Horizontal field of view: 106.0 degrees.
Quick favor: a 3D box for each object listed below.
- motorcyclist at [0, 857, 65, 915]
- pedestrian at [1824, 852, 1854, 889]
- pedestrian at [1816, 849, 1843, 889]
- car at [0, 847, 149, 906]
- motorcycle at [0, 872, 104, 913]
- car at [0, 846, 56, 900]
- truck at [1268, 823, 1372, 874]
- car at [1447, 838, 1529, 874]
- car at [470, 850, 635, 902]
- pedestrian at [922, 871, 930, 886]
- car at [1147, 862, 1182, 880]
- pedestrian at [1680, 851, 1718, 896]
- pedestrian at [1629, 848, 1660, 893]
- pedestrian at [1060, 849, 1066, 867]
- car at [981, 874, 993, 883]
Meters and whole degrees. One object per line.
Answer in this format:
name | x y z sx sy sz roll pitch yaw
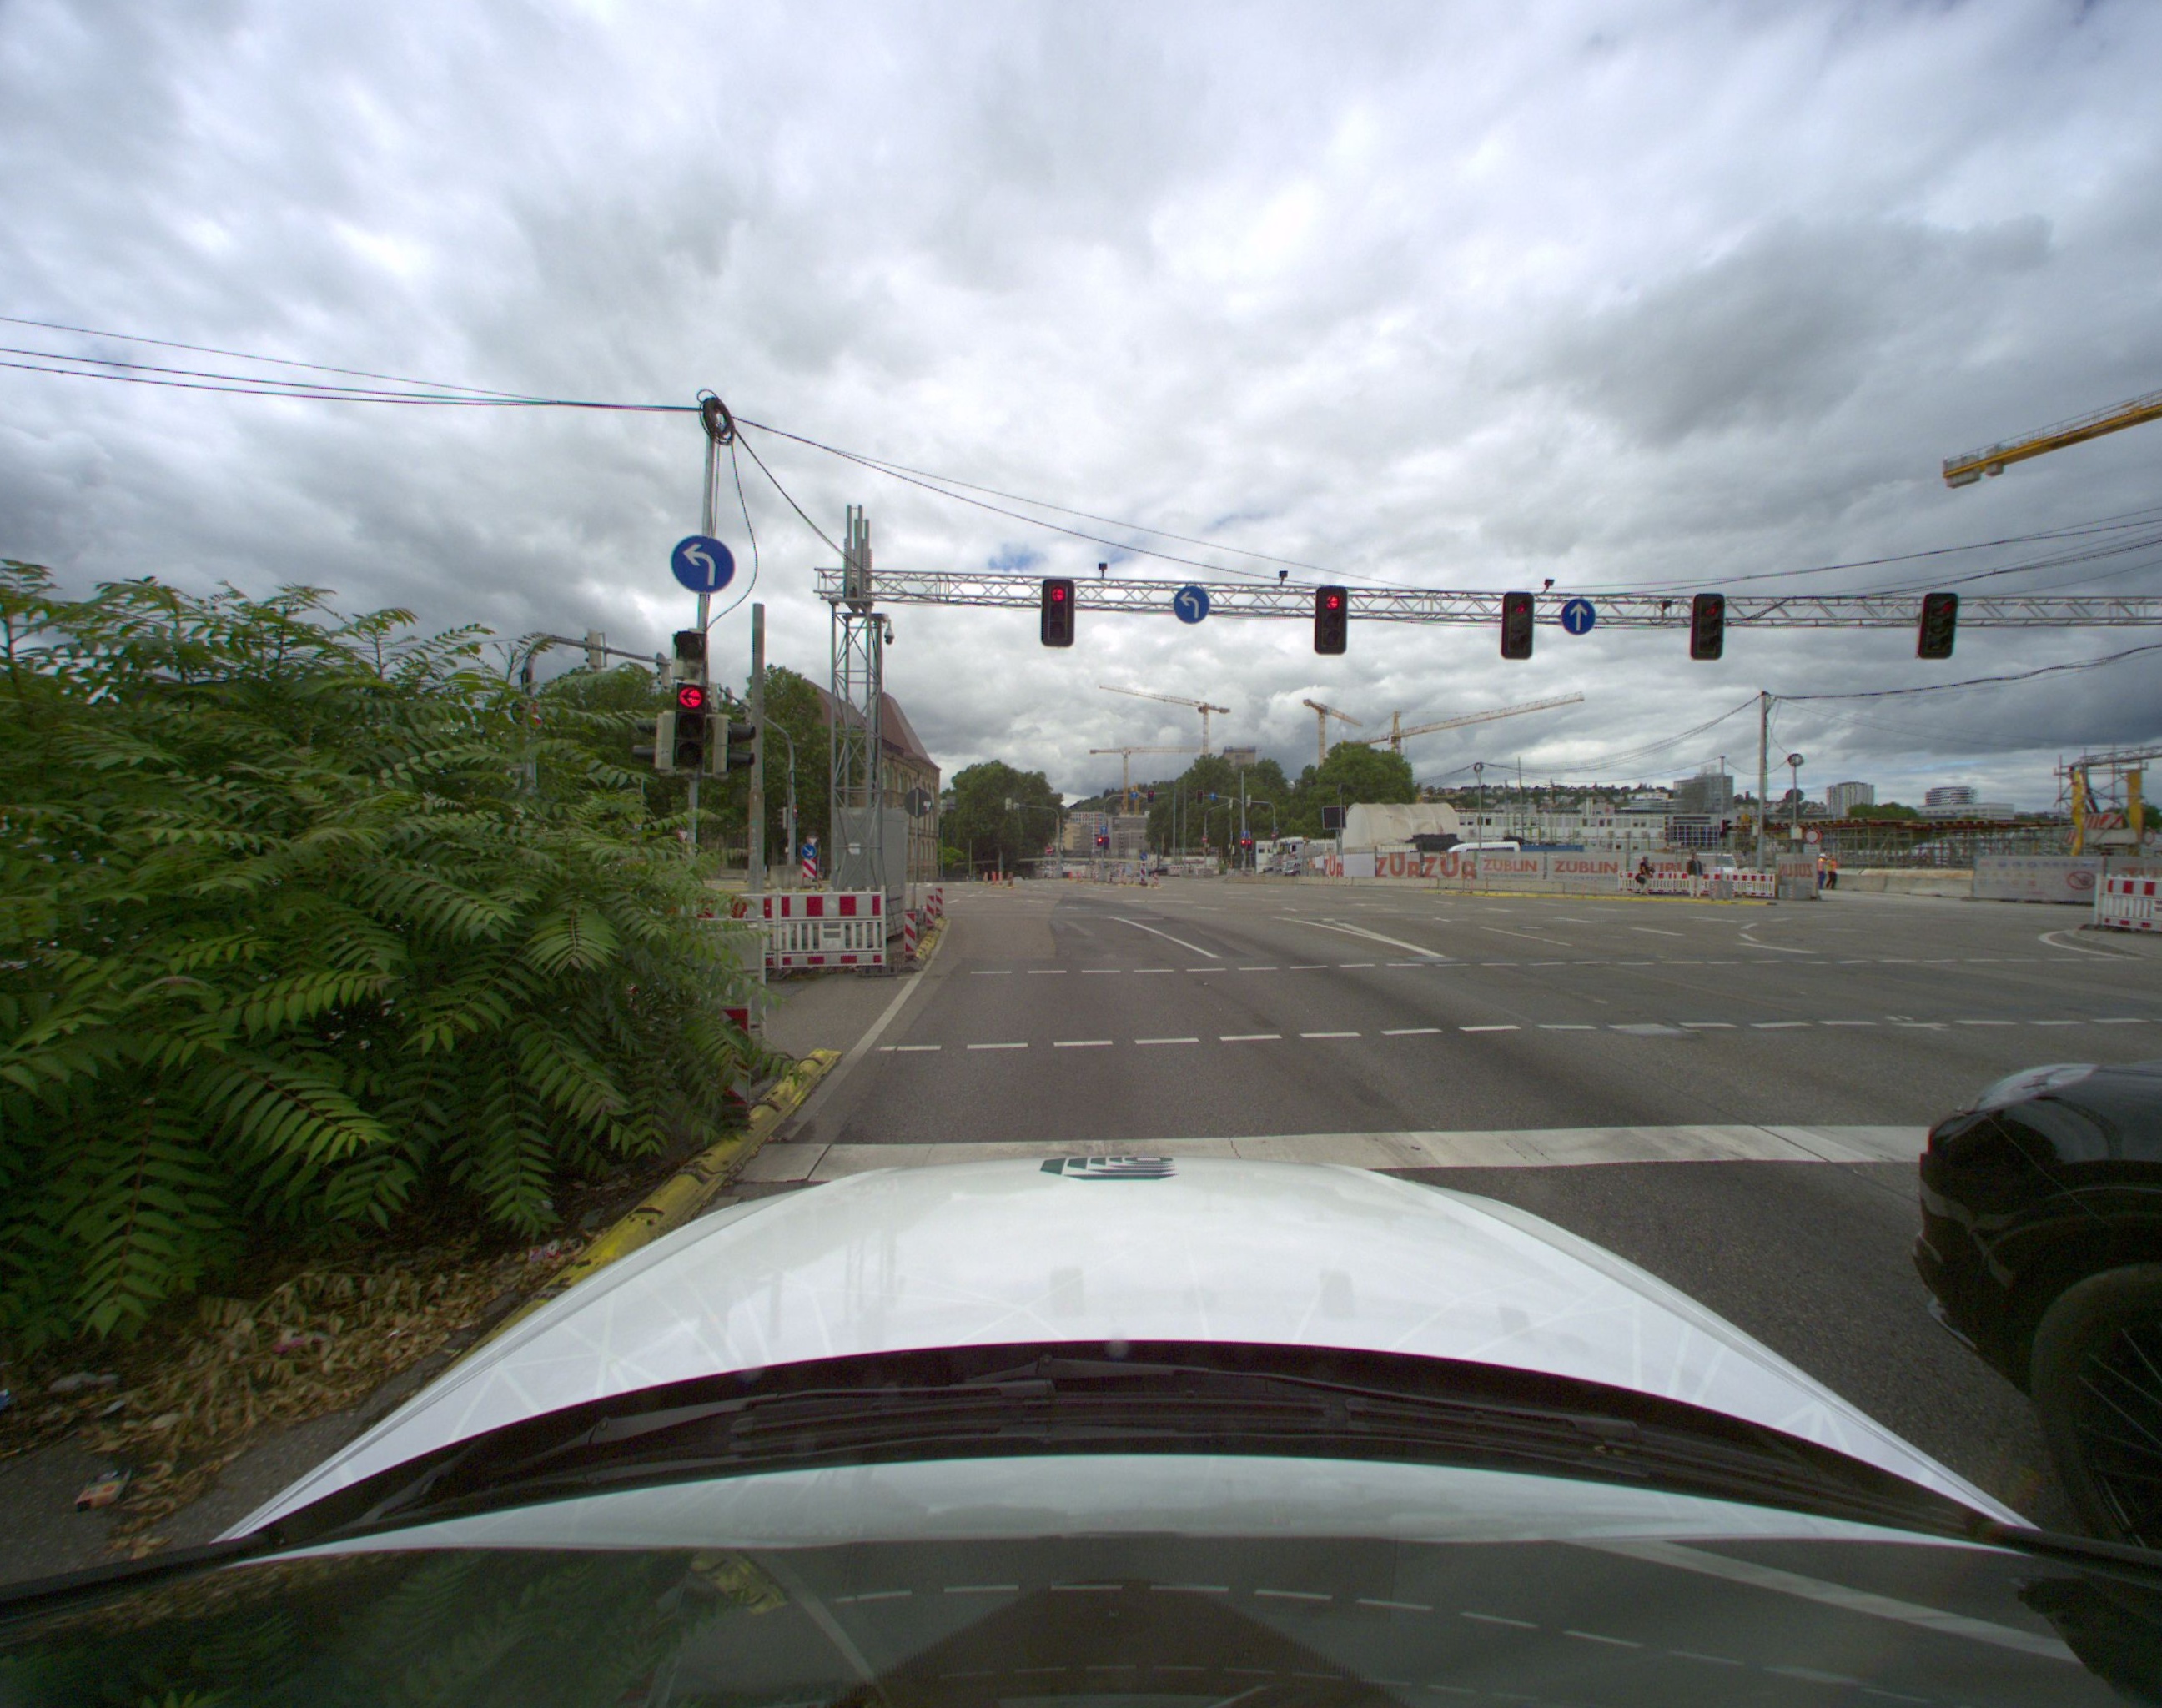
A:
motorcyclist | -25.613 0.765 19.834 0.786 1.380 0.697 1 -1 -2
pedestrian | 39.058 0.839 41.958 0.677 1.916 0.865 0 -1 -4
pedestrian | 38.288 0.745 41.659 0.673 2.014 0.869 -1 -1 14
car | -28.980 0.598 22.468 4.095 1.547 1.999 0 -1 -2
motorcycle | -25.451 0.934 19.832 2.342 0.941 0.697 1 -1 -2
car | -32.772 0.550 23.371 4.094 1.547 1.999 0 -1 -1
truck | 23.609 -0.532 80.618 9.735 4.961 3.097 0 -1 -16
car | 23.468 0.118 47.102 3.955 2.014 2.009 -1 -1 17
car | -18.679 0.766 29.032 4.500 1.759 1.989 1 -1 -16
pedestrian | -21.484 3.376 113.002 0.946 2.014 0.767 0 -1 3
car | 9.673 1.918 94.859 2.008 2.014 3.958 0 -1 -34
pedestrian | 25.806 0.796 34.005 1.035 1.848 0.794 -1 -1 17
pedestrian | 25.518 0.747 36.866 1.021 2.014 1.053 -1 -1 39
pedestrian | -1.808 0.397 81.011 0.583 1.840 0.604 0 -1 -2
car | -19.884 5.113 172.304 1.987 1.838 3.998 0 -1 -1
